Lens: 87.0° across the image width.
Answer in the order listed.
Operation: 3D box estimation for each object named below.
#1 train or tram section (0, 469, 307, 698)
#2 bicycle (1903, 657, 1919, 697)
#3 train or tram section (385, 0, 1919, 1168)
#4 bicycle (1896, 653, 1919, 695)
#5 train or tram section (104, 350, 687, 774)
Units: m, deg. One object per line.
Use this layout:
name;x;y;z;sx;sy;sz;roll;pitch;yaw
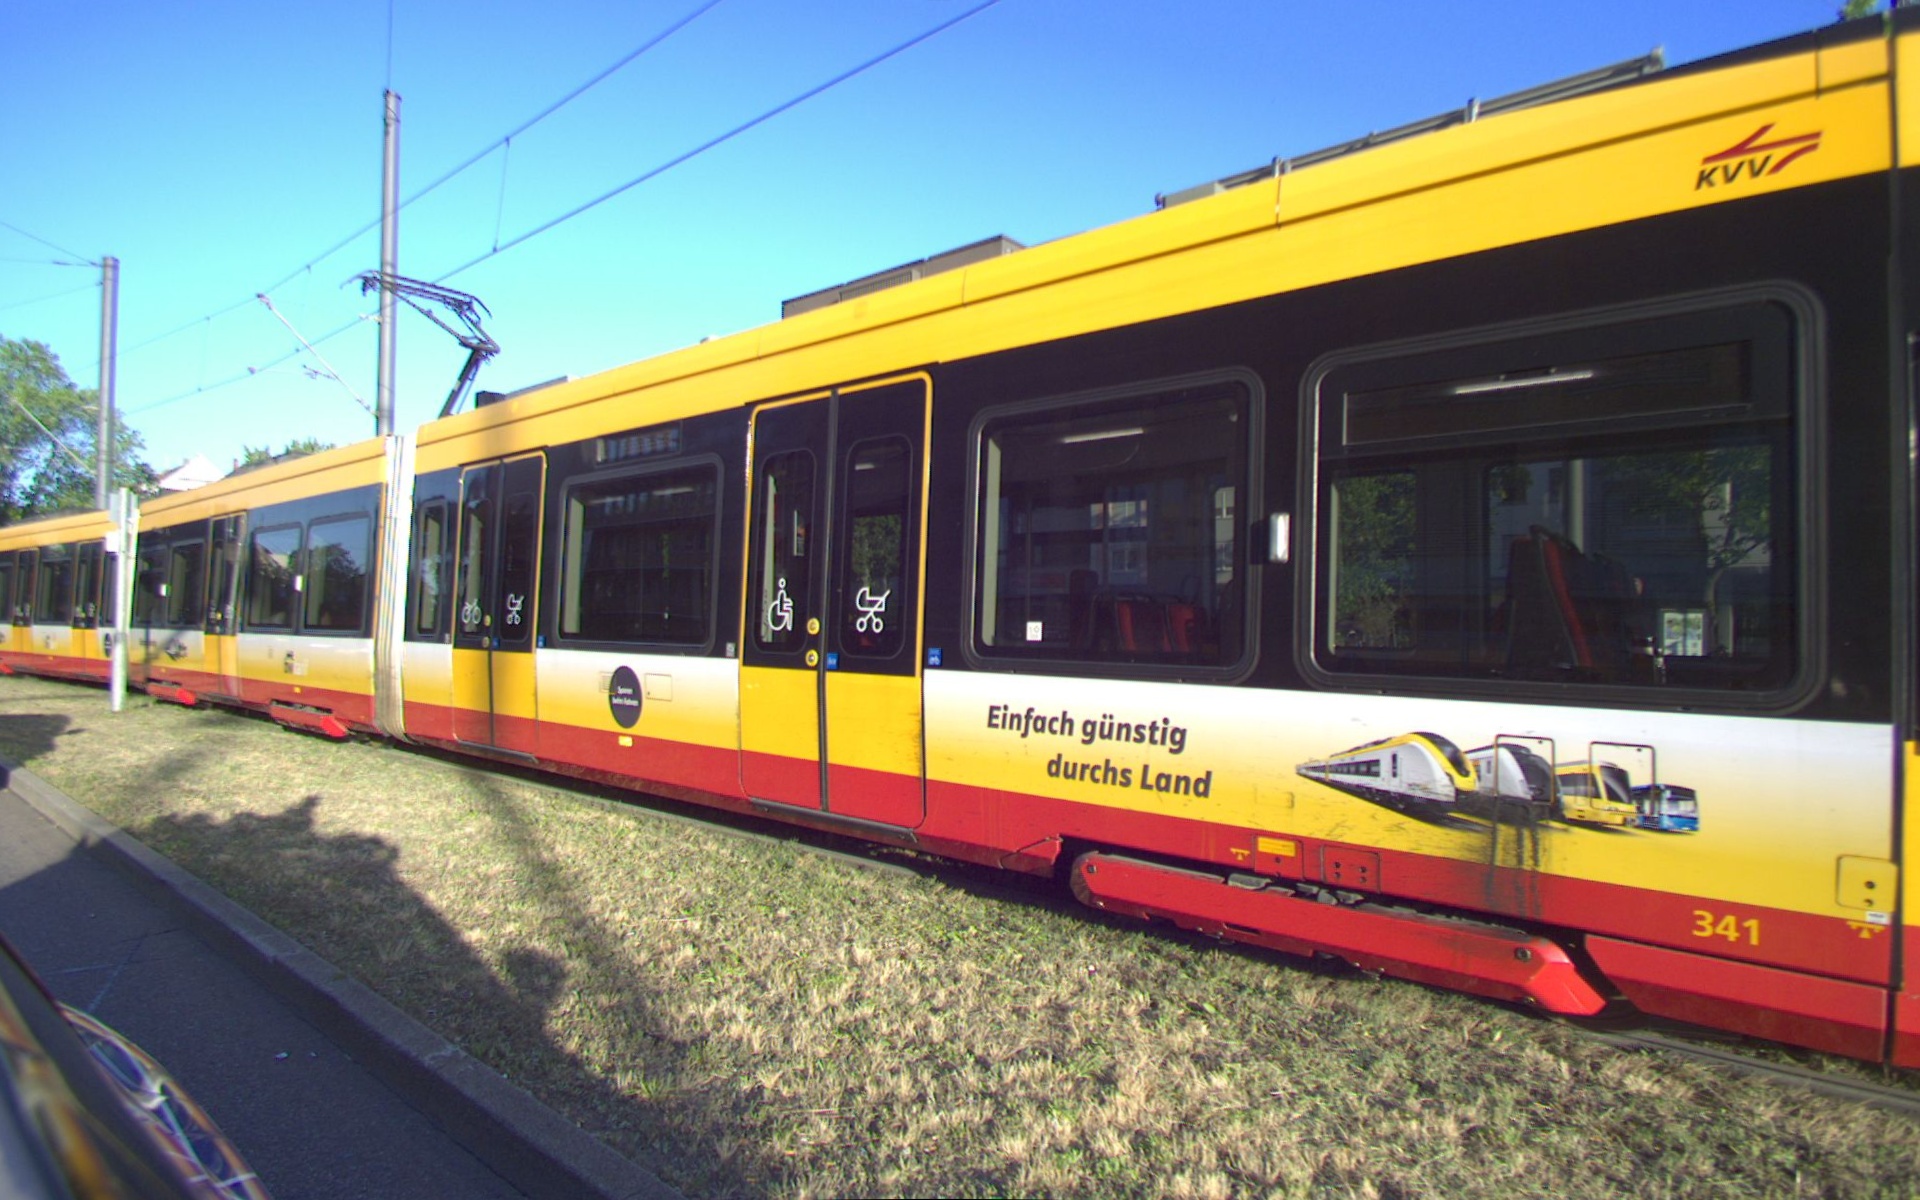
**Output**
train or tram section;-18.089;-0.220;21.403;12.165;3.767;2.880;0;-1;36
bicycle;27.226;2.140;27.728;1.994;1.083;0.462;-1;-2;41
train or tram section;0.738;-0.371;6.029;13.209;3.767;2.879;-1;-1;40
bicycle;26.017;1.972;26.709;1.906;1.083;0.462;-1;-2;41
train or tram section;-8.605;-0.279;13.999;12.173;3.767;2.848;0;-1;40
